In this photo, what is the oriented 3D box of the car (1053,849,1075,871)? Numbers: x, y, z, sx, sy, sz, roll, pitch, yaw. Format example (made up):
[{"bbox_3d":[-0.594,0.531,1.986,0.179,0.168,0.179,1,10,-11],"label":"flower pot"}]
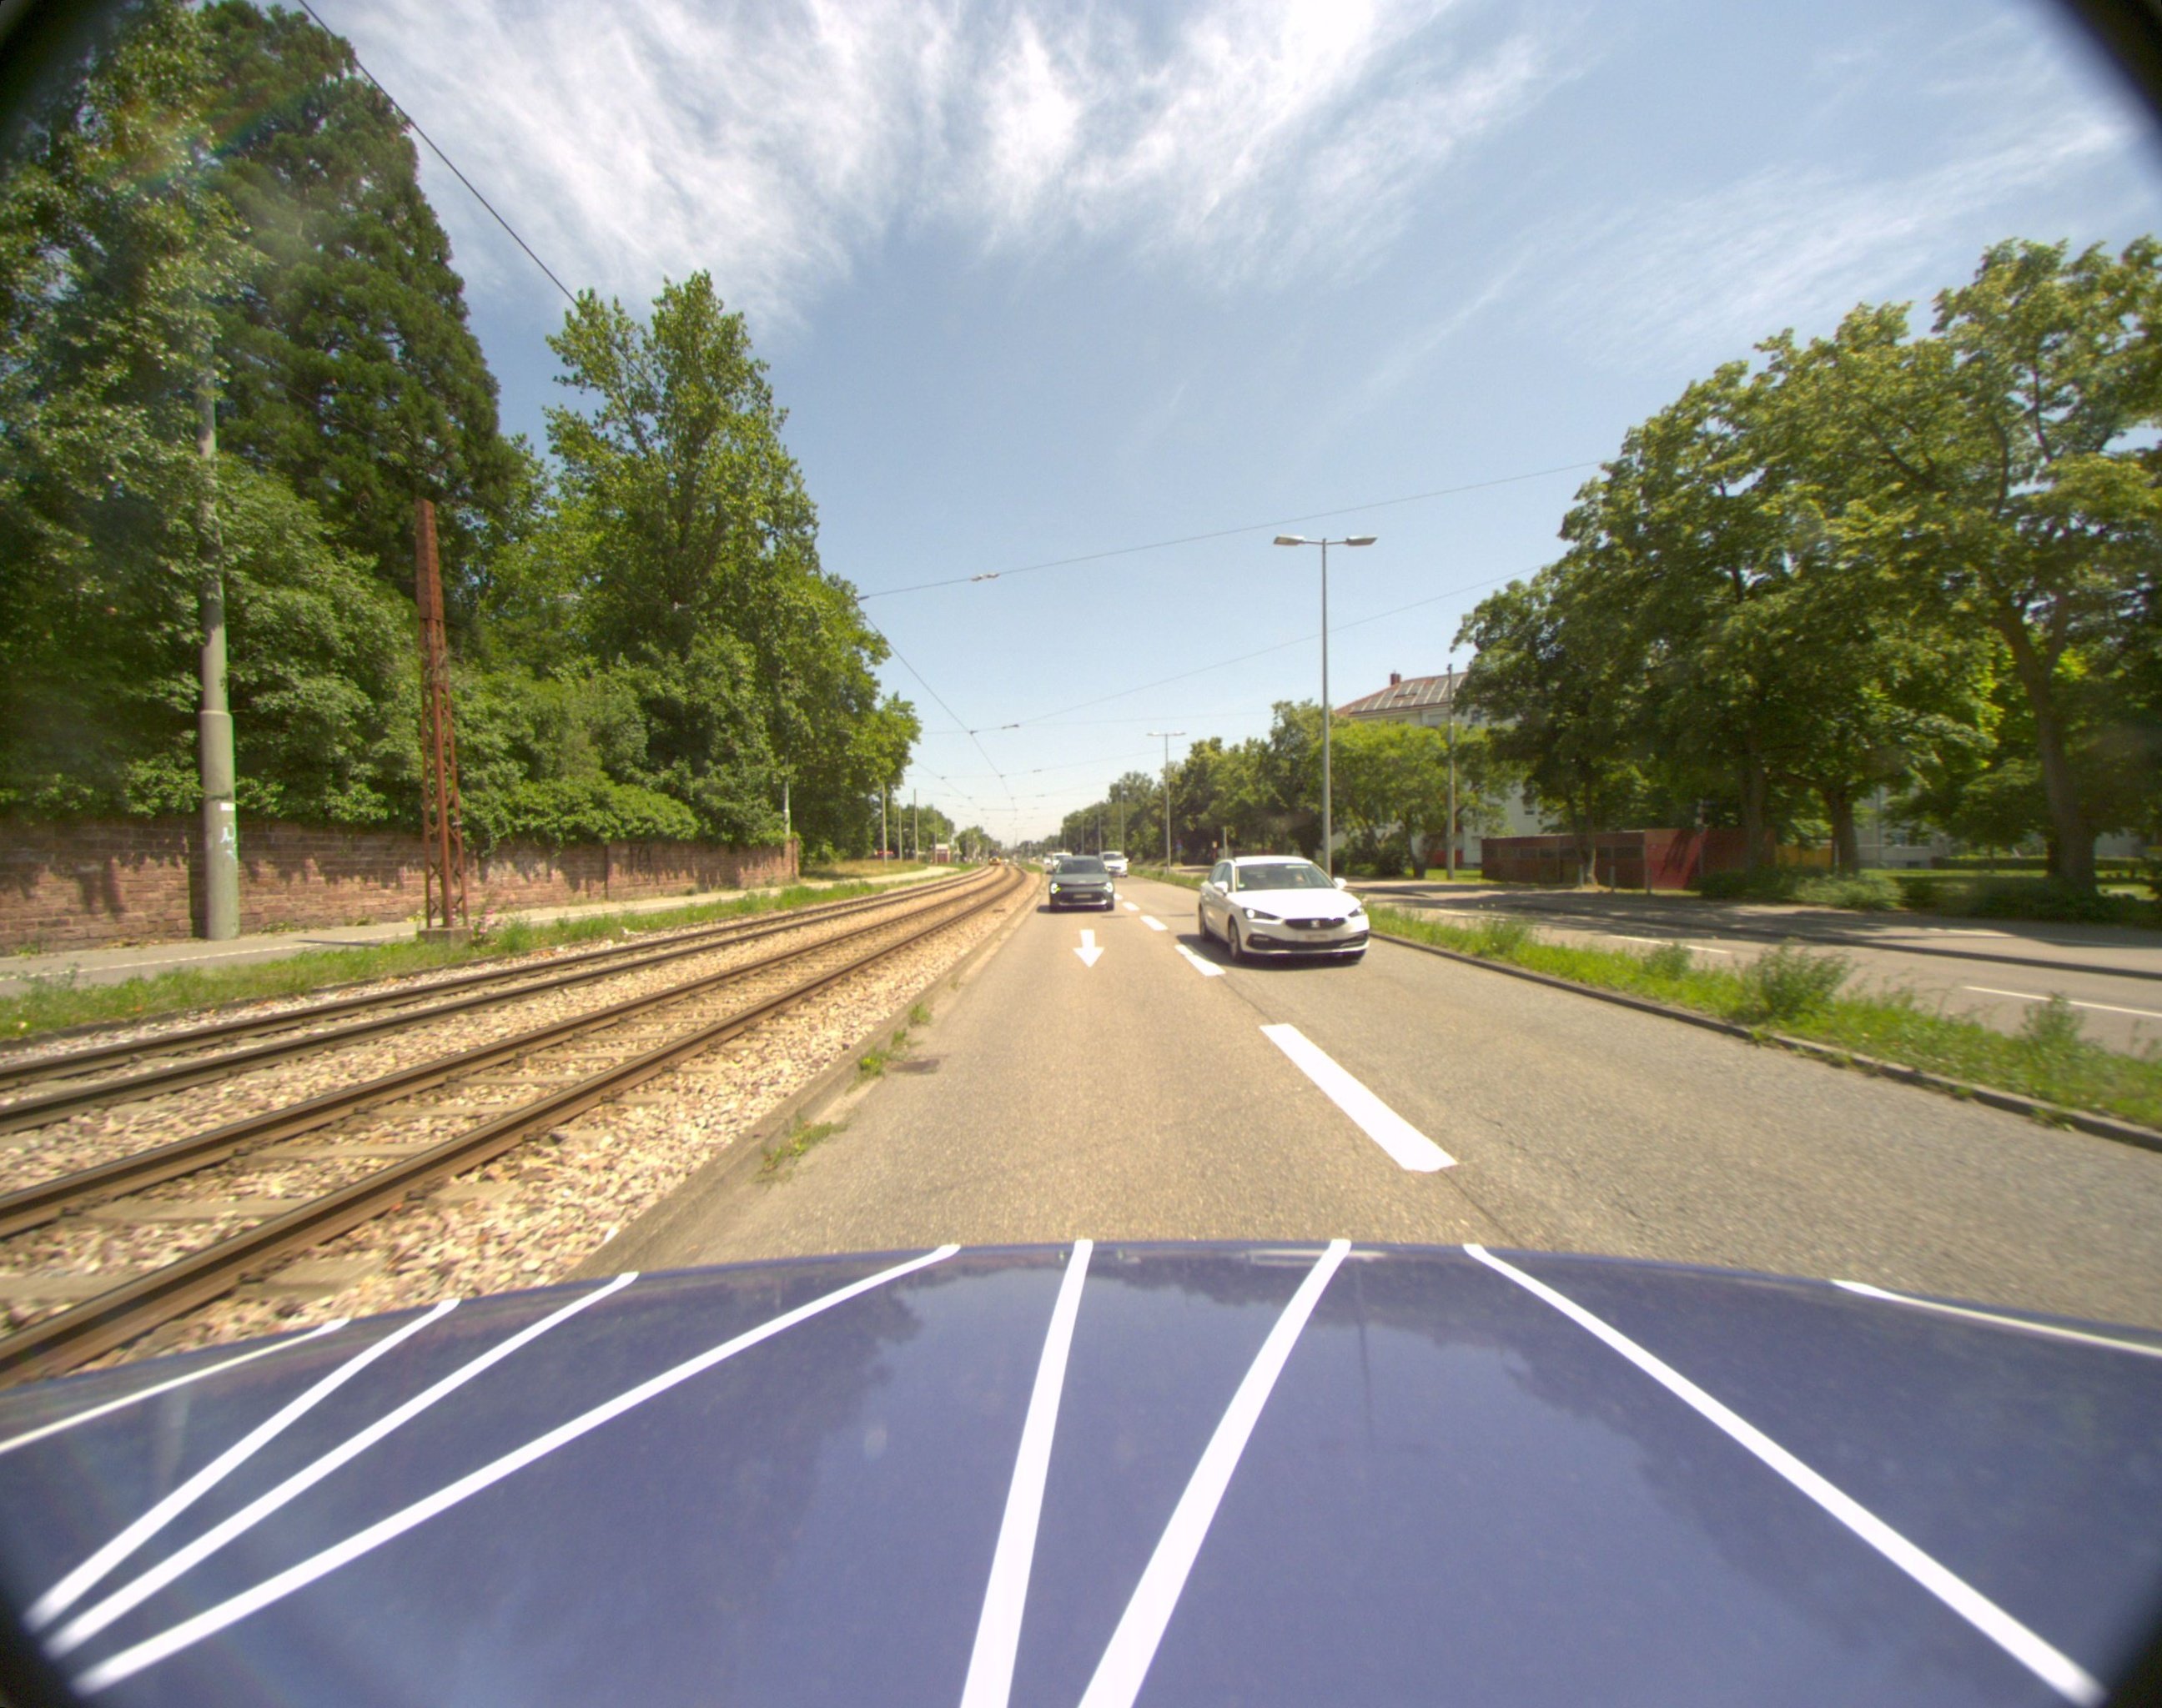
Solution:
[{"bbox_3d":[-1.610,0.513,72.010,1.922,2.002,3.998,-1,0,-3],"label":"car"}]

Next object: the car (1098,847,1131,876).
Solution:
[{"bbox_3d":[2.382,0.516,54.926,1.999,2.002,3.998,-1,0,-3],"label":"car"}]

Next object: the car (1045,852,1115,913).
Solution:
[{"bbox_3d":[-0.116,0.756,22.454,1.788,1.554,4.134,-2,0,-3],"label":"car"}]

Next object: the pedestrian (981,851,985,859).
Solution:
[{"bbox_3d":[-20.917,0.244,161.998,0.637,1.749,0.815,-3,2,-18],"label":"pedestrian"}]

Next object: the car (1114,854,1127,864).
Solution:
[{"bbox_3d":[6.821,0.891,131.602,1.928,1.616,4.754,0,1,-3],"label":"car"}]

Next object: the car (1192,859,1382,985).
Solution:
[{"bbox_3d":[2.896,0.874,11.616,1.772,1.460,4.111,-2,0,0],"label":"car"}]

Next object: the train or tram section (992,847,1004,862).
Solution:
[{"bbox_3d":[-18.302,0.157,167.818,2.525,3.303,7.257,-1,0,-4],"label":"train or tram section"}]
